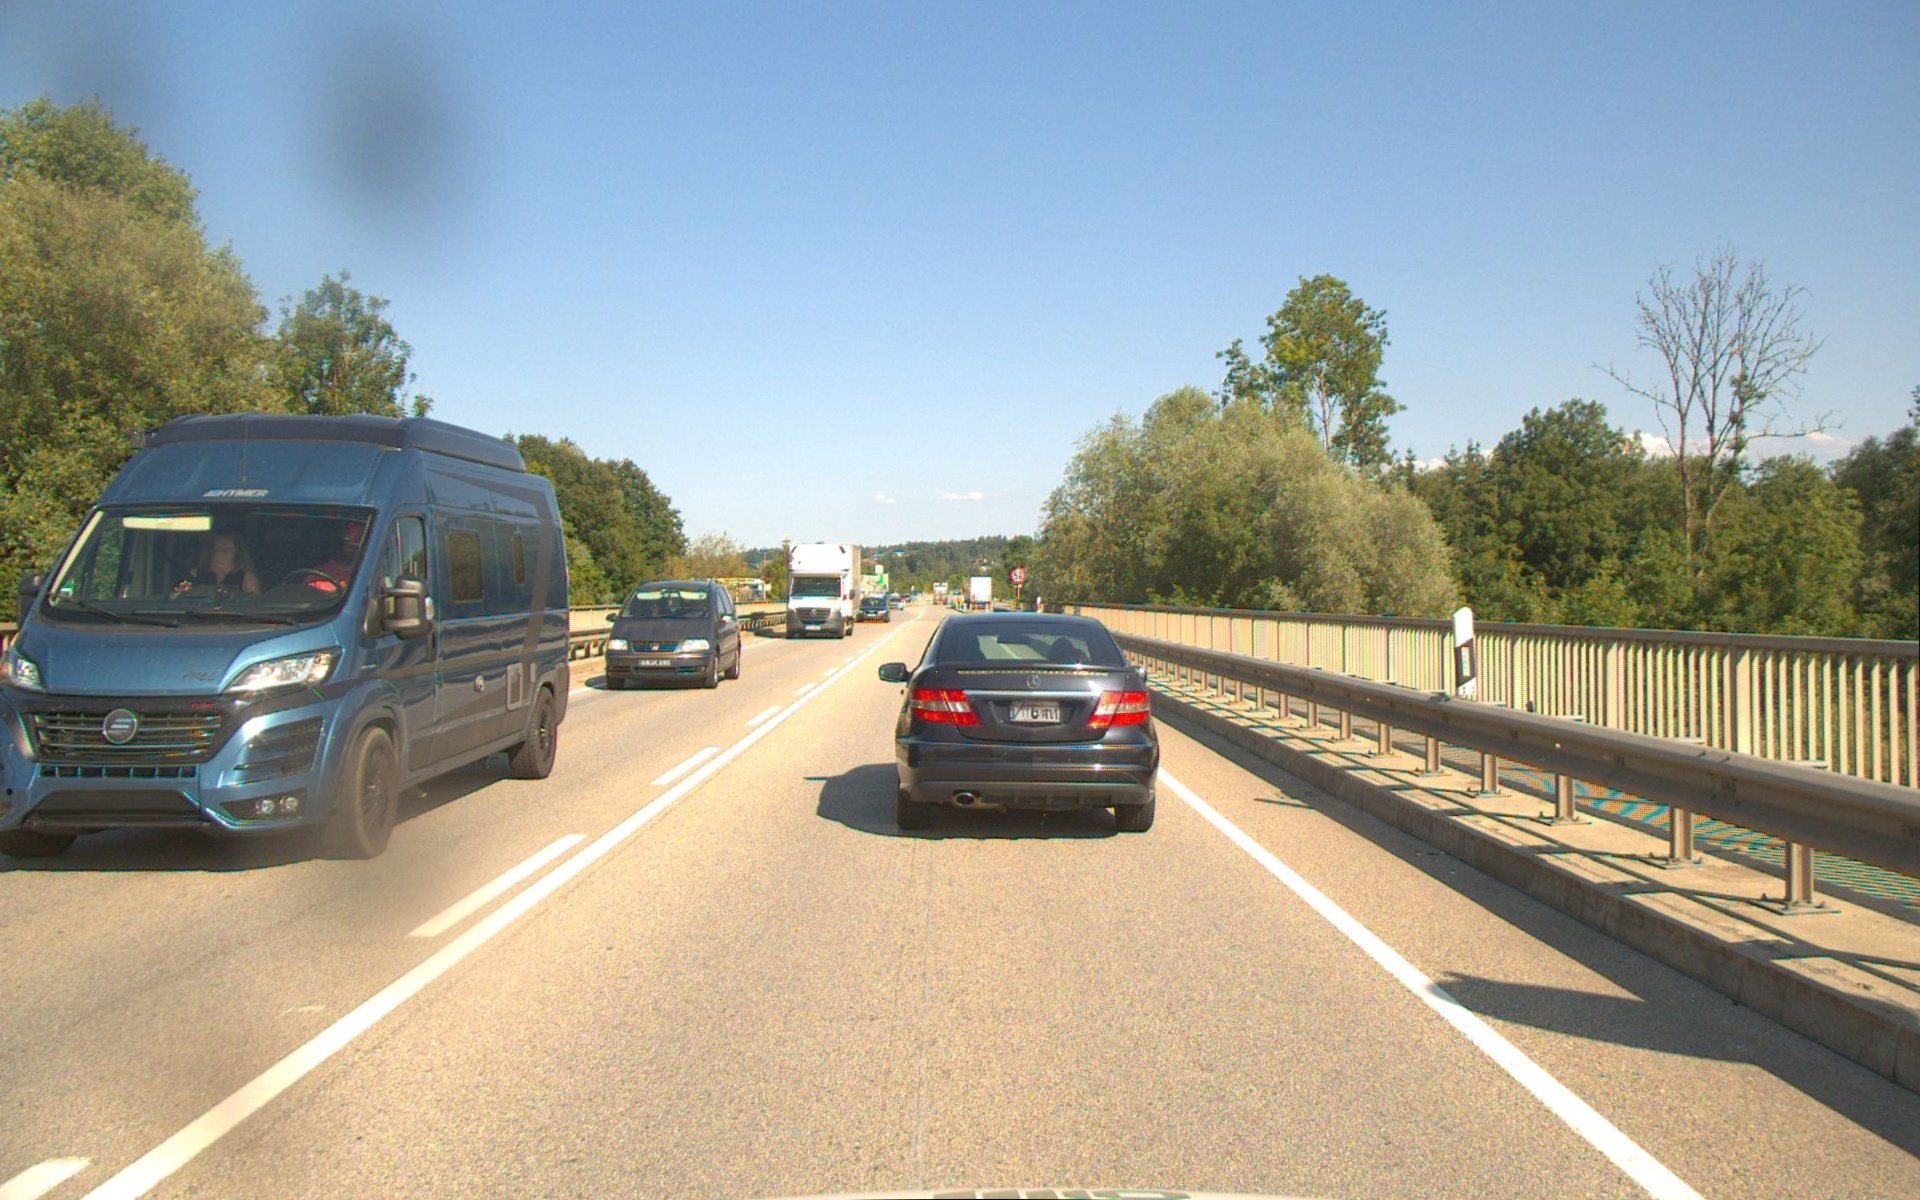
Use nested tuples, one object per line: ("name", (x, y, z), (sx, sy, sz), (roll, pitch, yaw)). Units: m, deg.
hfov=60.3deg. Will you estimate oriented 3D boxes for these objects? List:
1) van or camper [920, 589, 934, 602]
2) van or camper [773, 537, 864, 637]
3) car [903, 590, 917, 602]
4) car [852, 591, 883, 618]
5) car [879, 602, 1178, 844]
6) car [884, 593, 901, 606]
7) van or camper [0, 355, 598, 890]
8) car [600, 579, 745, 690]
("van or camper", (-5.158, -0.709, 258.653), (1.952, 2.049, 4.001), (0, 0, 2))
("van or camper", (-4.942, -0.457, 58.833), (2.581, 3.313, 7.749), (0, 0, 0))
("car", (-6.983, -0.558, 231.639), (1.766, 1.634, 3.916), (0, 0, 1))
("car", (-5.116, 0.243, 91.910), (1.626, 1.461, 4.186), (0, 0, -2))
("car", (0.426, 0.728, 11.765), (1.756, 1.400, 4.000), (0, 0, 0))
("car", (-7.213, -0.075, 178.077), (1.666, 1.380, 3.736), (0, 0, 0))
("van or camper", (-4.438, 0.092, 11.540), (2.380, 2.688, 6.404), (0, 0, 0))
("car", (-4.667, 0.512, 27.469), (1.804, 1.670, 4.574), (0, 0, -3))
